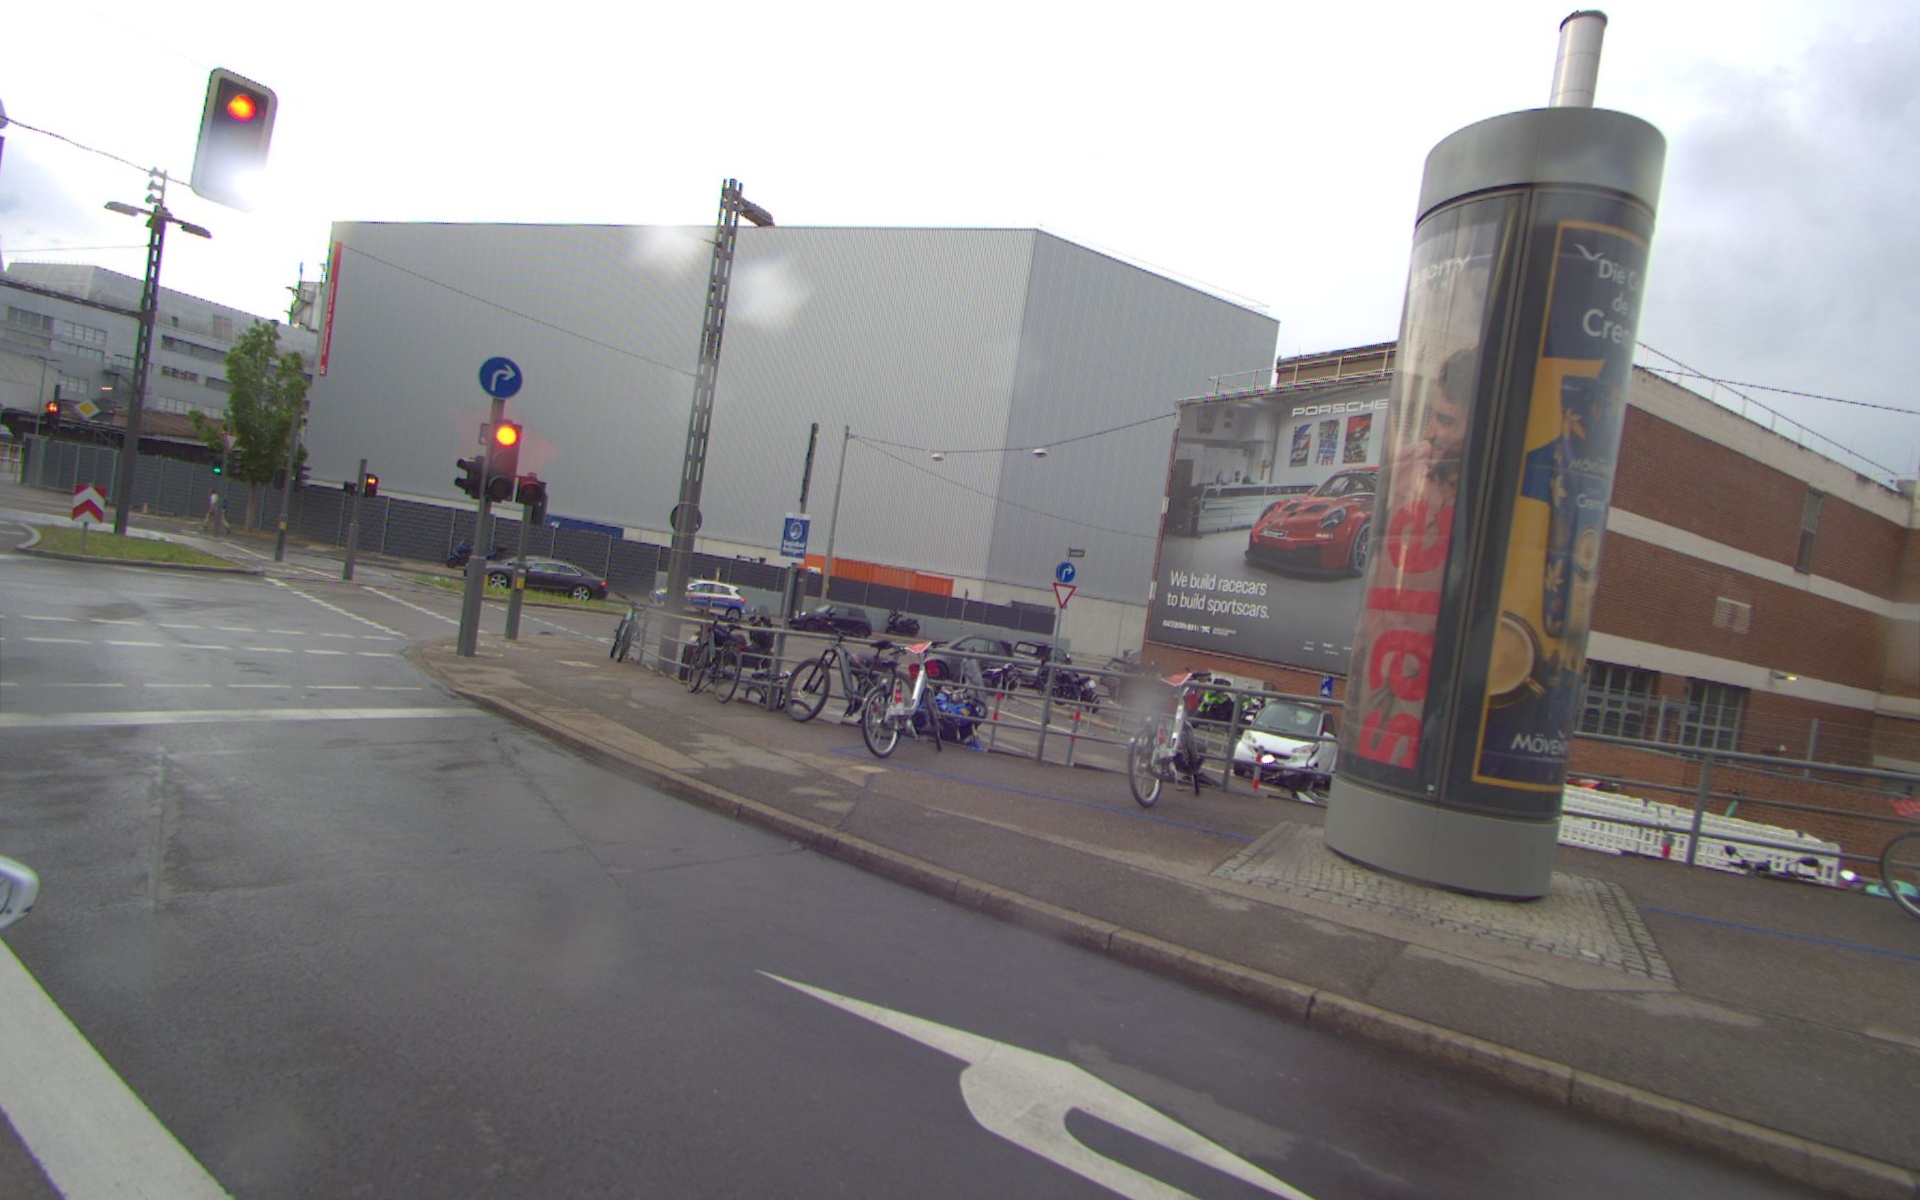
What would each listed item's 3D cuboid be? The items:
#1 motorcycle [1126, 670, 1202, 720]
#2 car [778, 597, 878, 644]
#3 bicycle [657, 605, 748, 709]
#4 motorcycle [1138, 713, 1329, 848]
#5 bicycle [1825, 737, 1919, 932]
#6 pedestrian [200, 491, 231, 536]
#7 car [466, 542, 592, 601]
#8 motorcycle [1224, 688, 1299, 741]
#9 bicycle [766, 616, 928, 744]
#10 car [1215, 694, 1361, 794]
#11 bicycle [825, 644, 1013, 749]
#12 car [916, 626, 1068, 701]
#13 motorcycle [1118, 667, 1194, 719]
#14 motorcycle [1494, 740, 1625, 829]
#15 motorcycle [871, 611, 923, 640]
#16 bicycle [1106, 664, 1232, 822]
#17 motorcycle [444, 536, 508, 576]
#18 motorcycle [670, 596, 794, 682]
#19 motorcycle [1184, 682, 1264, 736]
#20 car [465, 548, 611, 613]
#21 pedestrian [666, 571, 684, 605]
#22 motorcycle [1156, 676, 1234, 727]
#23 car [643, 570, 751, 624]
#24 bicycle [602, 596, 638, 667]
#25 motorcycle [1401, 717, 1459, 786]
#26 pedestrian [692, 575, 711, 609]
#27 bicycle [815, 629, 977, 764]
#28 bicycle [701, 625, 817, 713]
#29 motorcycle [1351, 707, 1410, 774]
[{"bbox_3d":[5.761,2.699,28.456,1.996,1.206,0.605,6,3,-24],"label":"motorcycle"},{"bbox_3d":[-5.912,0.927,44.966,3.954,1.408,1.745,10,0,-26],"label":"car"},{"bbox_3d":[-3.354,0.705,12.989,0.383,1.133,1.732,6,0,-37],"label":"bicycle"},{"bbox_3d":[2.818,1.819,10.370,1.719,1.002,0.699,8,0,23],"label":"motorcycle"},{"bbox_3d":[6.878,1.668,6.531,0.589,1.239,1.930,6,0,-6],"label":"bicycle"},{"bbox_3d":[-29.566,-3.427,39.949,0.804,1.630,0.761,6,0,-39],"label":"pedestrian"},{"bbox_3d":[-16.655,-1.085,38.939,4.250,1.557,1.745,10,0,-26],"label":"car"},{"bbox_3d":[7.673,2.926,25.581,2.004,1.206,0.603,6,3,-36],"label":"motorcycle"},{"bbox_3d":[-1.303,0.868,11.298,1.970,1.176,0.385,6,0,37],"label":"bicycle"},{"bbox_3d":[6.579,2.762,19.965,1.666,1.500,3.553,10,1,34],"label":"car"},{"bbox_3d":[-0.514,1.113,11.892,2.139,0.916,0.693,6,-1,34],"label":"bicycle"},{"bbox_3d":[0.884,1.818,29.079,4.090,1.547,1.837,8,-2,-1],"label":"car"},{"bbox_3d":[5.758,2.726,29.592,1.986,1.206,0.609,7,3,-2],"label":"motorcycle"},{"bbox_3d":[12.274,3.738,20.639,0.922,1.327,1.962,5,4,-39],"label":"motorcycle"},{"bbox_3d":[-3.357,1.366,53.489,2.469,1.200,0.992,8,0,-32],"label":"motorcycle"},{"bbox_3d":[1.893,1.196,8.914,0.581,1.176,1.804,6,0,25],"label":"bicycle"},{"bbox_3d":[-20.718,-1.872,43.083,2.333,1.360,0.648,8,0,-28],"label":"motorcycle"},{"bbox_3d":[-4.543,0.800,20.178,0.747,1.469,2.223,8,0,45],"label":"motorcycle"},{"bbox_3d":[6.922,2.867,26.347,1.998,1.206,0.605,6,3,-27],"label":"motorcycle"},{"bbox_3d":[-15.001,-0.680,35.851,4.532,1.557,1.745,10,0,-26],"label":"car"},{"bbox_3d":[-13.302,-0.552,46.994,0.605,1.499,0.422,7,0,-20],"label":"pedestrian"},{"bbox_3d":[6.417,2.777,27.452,1.998,1.206,0.605,6,3,-27],"label":"motorcycle"},{"bbox_3d":[-11.056,-0.136,42.259,3.936,1.620,1.899,9,-1,-26],"label":"car"},{"bbox_3d":[-6.065,0.537,17.879,0.381,1.111,1.741,6,0,-23],"label":"bicycle"},{"bbox_3d":[10.498,3.349,22.440,0.565,1.327,1.862,10,4,40],"label":"motorcycle"},{"bbox_3d":[-12.118,-0.391,47.094,0.642,1.499,0.437,7,0,-23],"label":"pedestrian"},{"bbox_3d":[-0.589,0.945,10.052,0.667,1.154,1.773,6,-1,29],"label":"bicycle"},{"bbox_3d":[-2.672,0.890,13.228,0.530,0.916,1.791,7,-1,-44],"label":"bicycle"},{"bbox_3d":[9.838,3.245,23.476,0.677,1.327,2.015,10,3,35],"label":"motorcycle"}]
